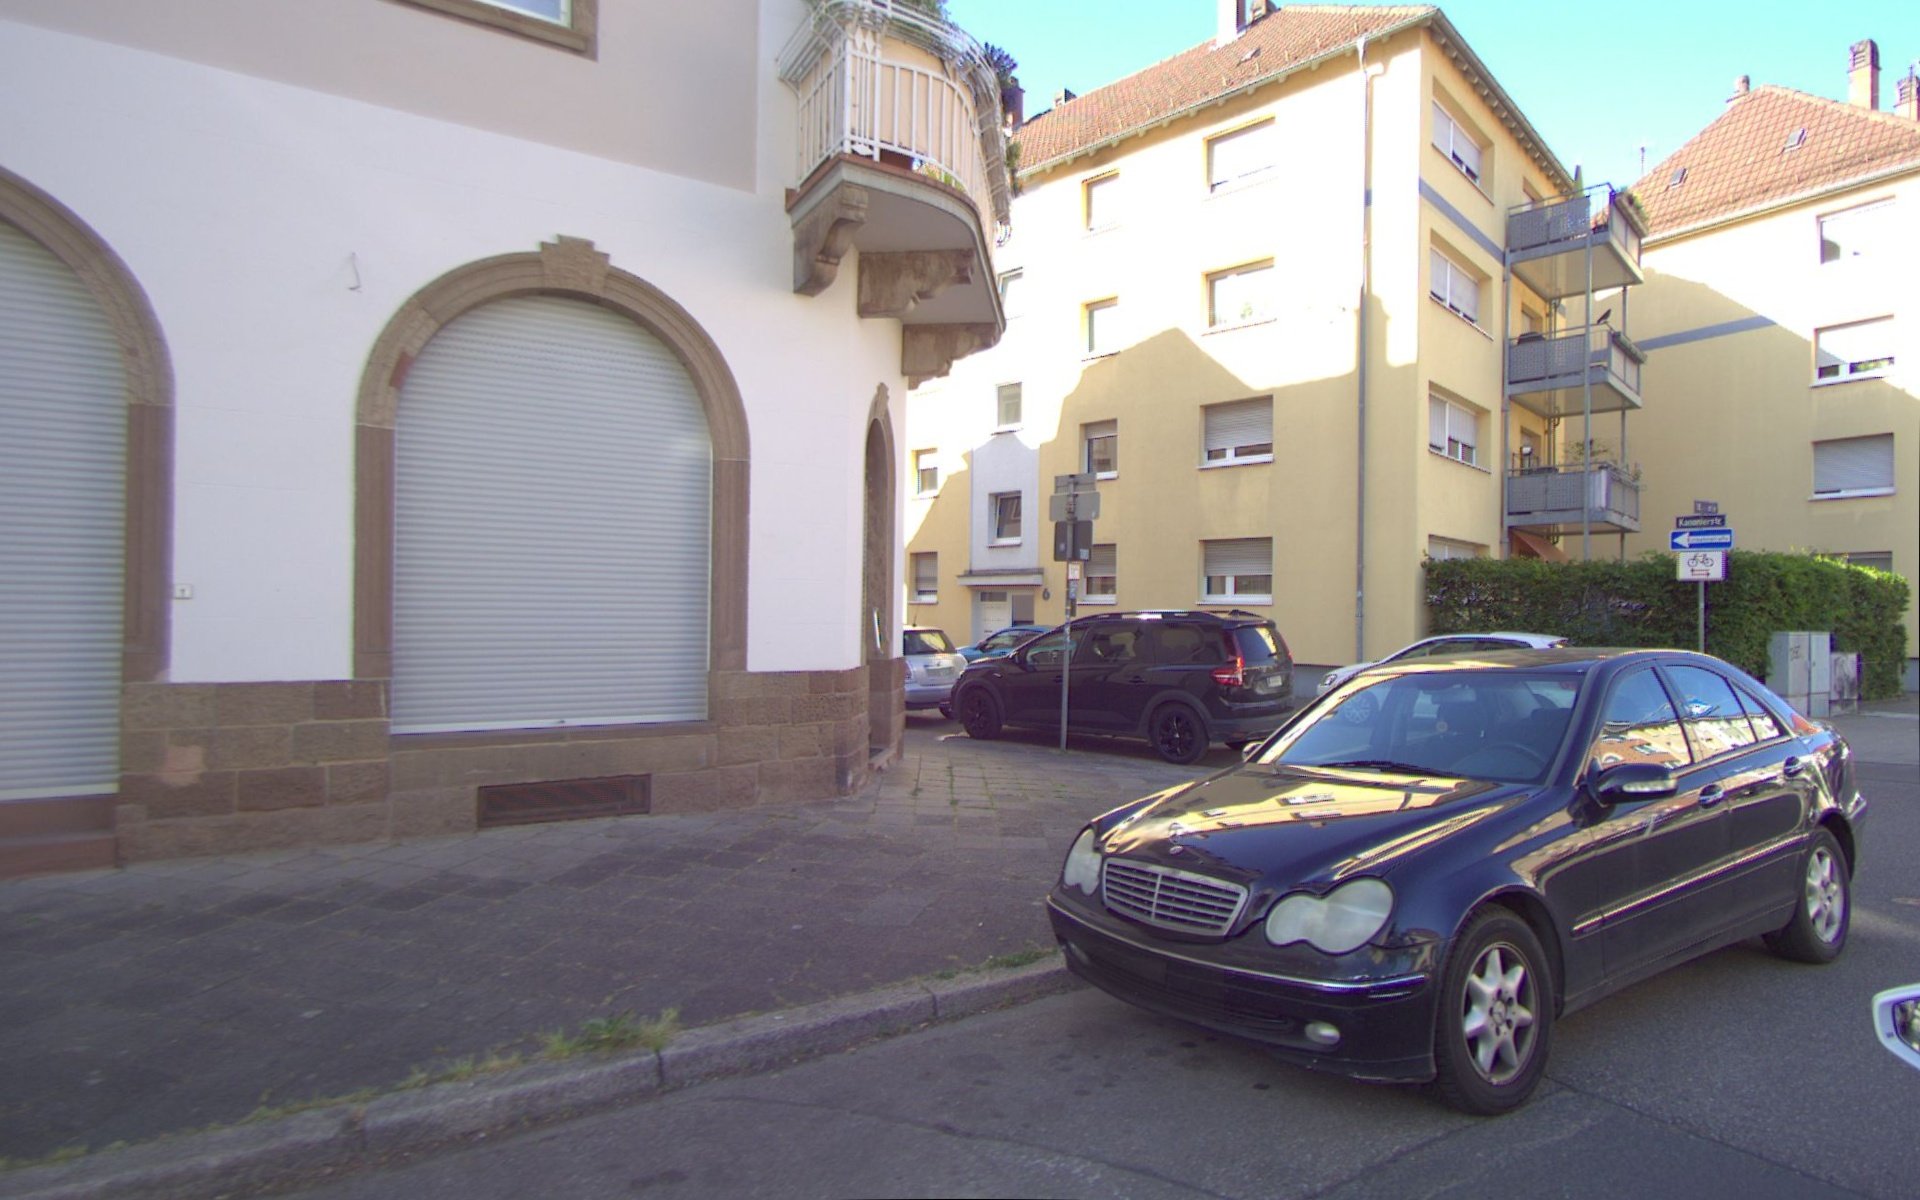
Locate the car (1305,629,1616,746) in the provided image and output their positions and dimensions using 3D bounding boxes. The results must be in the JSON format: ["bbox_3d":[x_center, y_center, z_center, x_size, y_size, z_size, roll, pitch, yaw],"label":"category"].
[{"bbox_3d":[7.438,1.207,15.159,3.935,1.499,1.586,-1,-2,42],"label":"car"}]

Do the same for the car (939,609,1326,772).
[{"bbox_3d":[1.948,0.951,12.250,4.415,1.637,1.769,-1,-2,42],"label":"car"}]

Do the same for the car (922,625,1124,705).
[{"bbox_3d":[1.235,1.270,20.850,4.061,1.465,1.680,-1,-2,42],"label":"car"}]

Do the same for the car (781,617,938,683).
[{"bbox_3d":[-2.496,1.150,24.370,3.935,1.460,1.586,-1,-2,42],"label":"car"}]

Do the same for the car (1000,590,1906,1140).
[{"bbox_3d":[2.436,0.830,4.570,4.328,1.434,1.695,2,-6,-33],"label":"car"}]

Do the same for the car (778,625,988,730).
[{"bbox_3d":[-1.239,1.101,15.440,1.584,1.418,3.129,2,-2,-45],"label":"car"}]
